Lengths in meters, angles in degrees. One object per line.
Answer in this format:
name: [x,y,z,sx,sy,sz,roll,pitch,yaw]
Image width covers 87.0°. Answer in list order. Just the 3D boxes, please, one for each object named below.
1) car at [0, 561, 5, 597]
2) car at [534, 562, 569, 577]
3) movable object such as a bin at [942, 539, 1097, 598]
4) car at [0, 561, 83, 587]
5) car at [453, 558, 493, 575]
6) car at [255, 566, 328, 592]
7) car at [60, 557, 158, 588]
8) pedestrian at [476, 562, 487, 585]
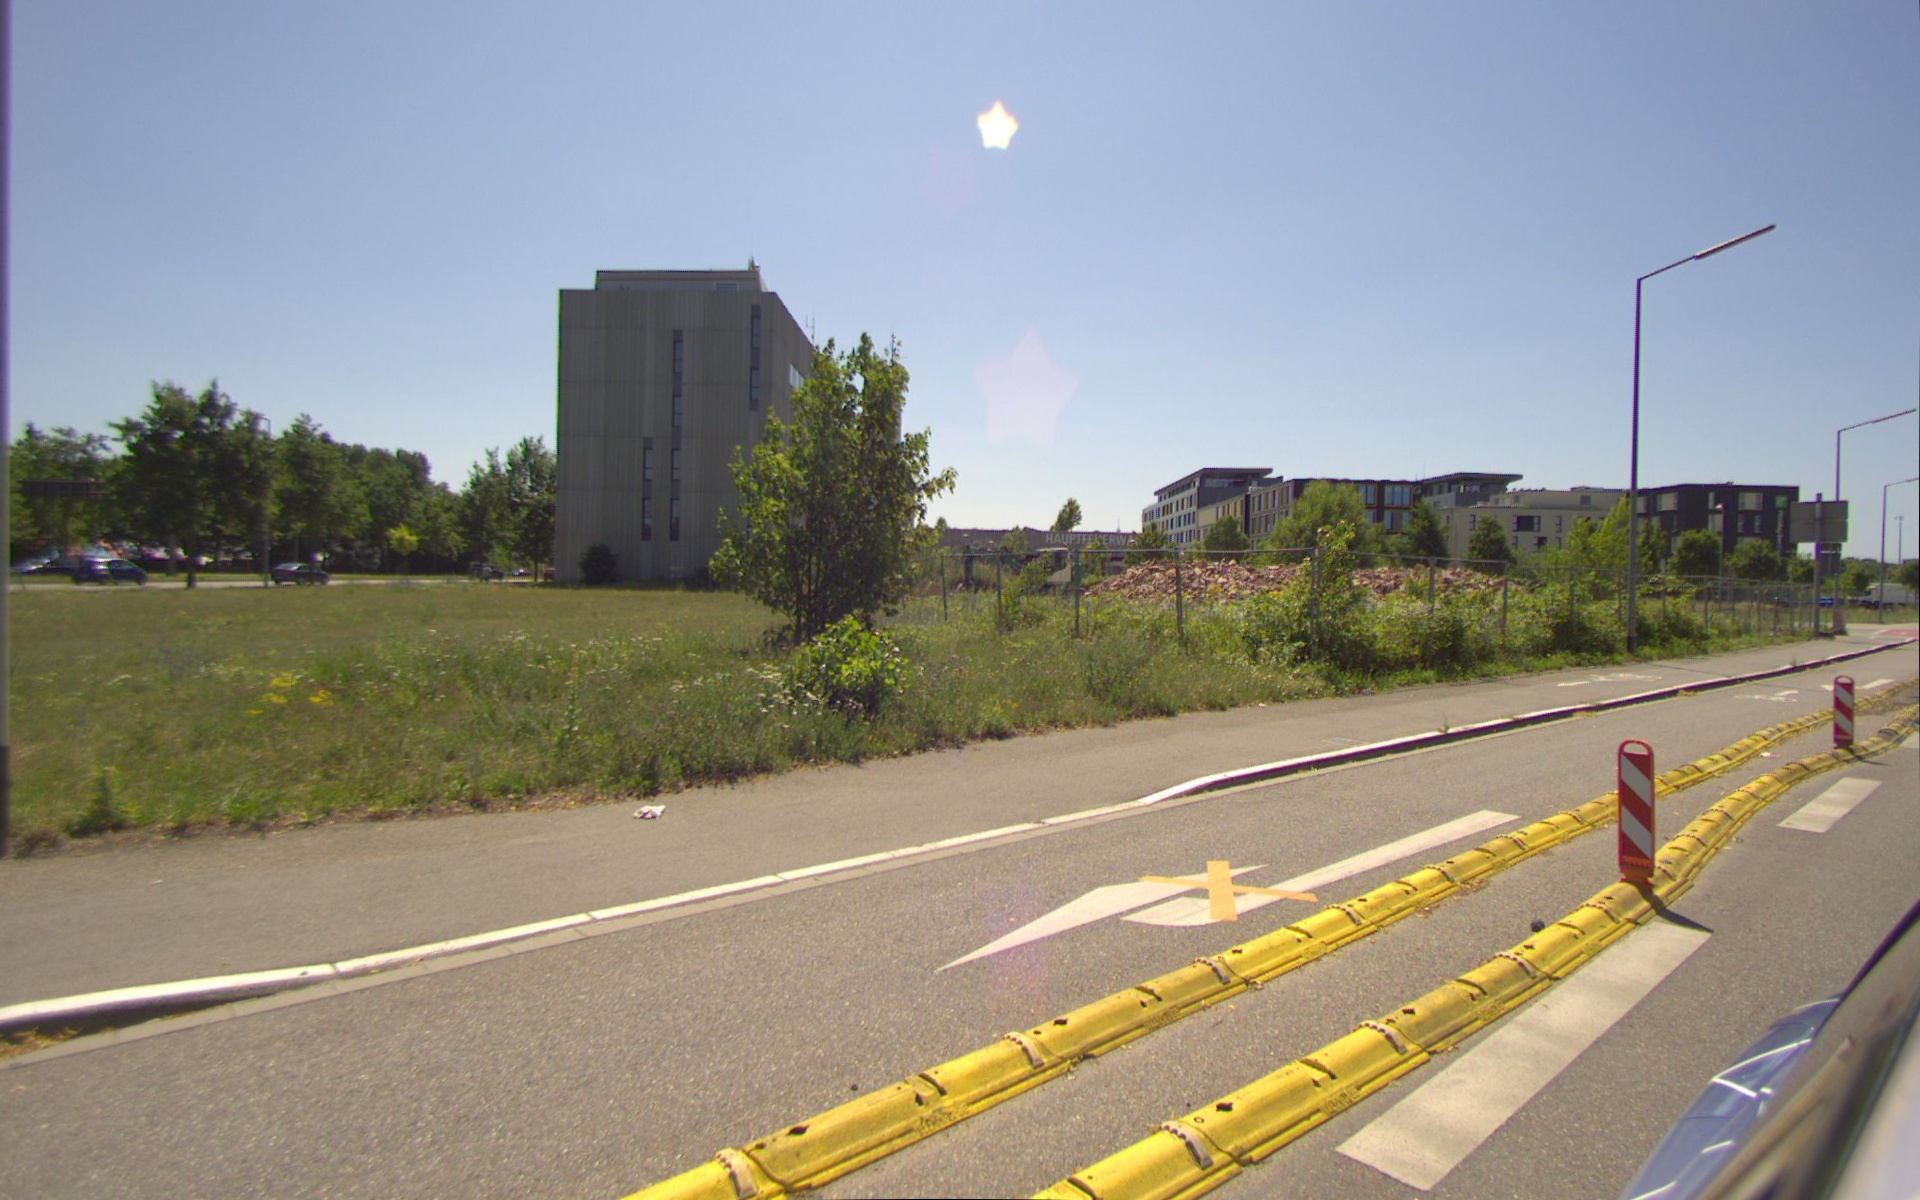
car: [-42.923,-0.960,42.568,1.695,1.571,4.000,3,0,0]
car: [-44.953,-3.307,111.581,1.963,1.546,4.417,0,0,2]
movable object such as a bin: [3.167,-1.597,53.332,7.537,2.952,3.242,-1,0,-26]
car: [-59.140,-1.619,64.960,1.814,1.612,4.443,0,0,1]
car: [-48.766,-3.346,101.425,1.961,1.615,4.423,2,1,-3]
car: [-45.219,-1.391,68.558,1.963,1.615,4.418,2,1,1]
car: [-48.399,-1.552,57.688,1.961,1.615,4.422,2,1,-3]
pedestrian: [-33.849,-1.877,71.615,0.652,1.611,0.557,0,0,-15]
